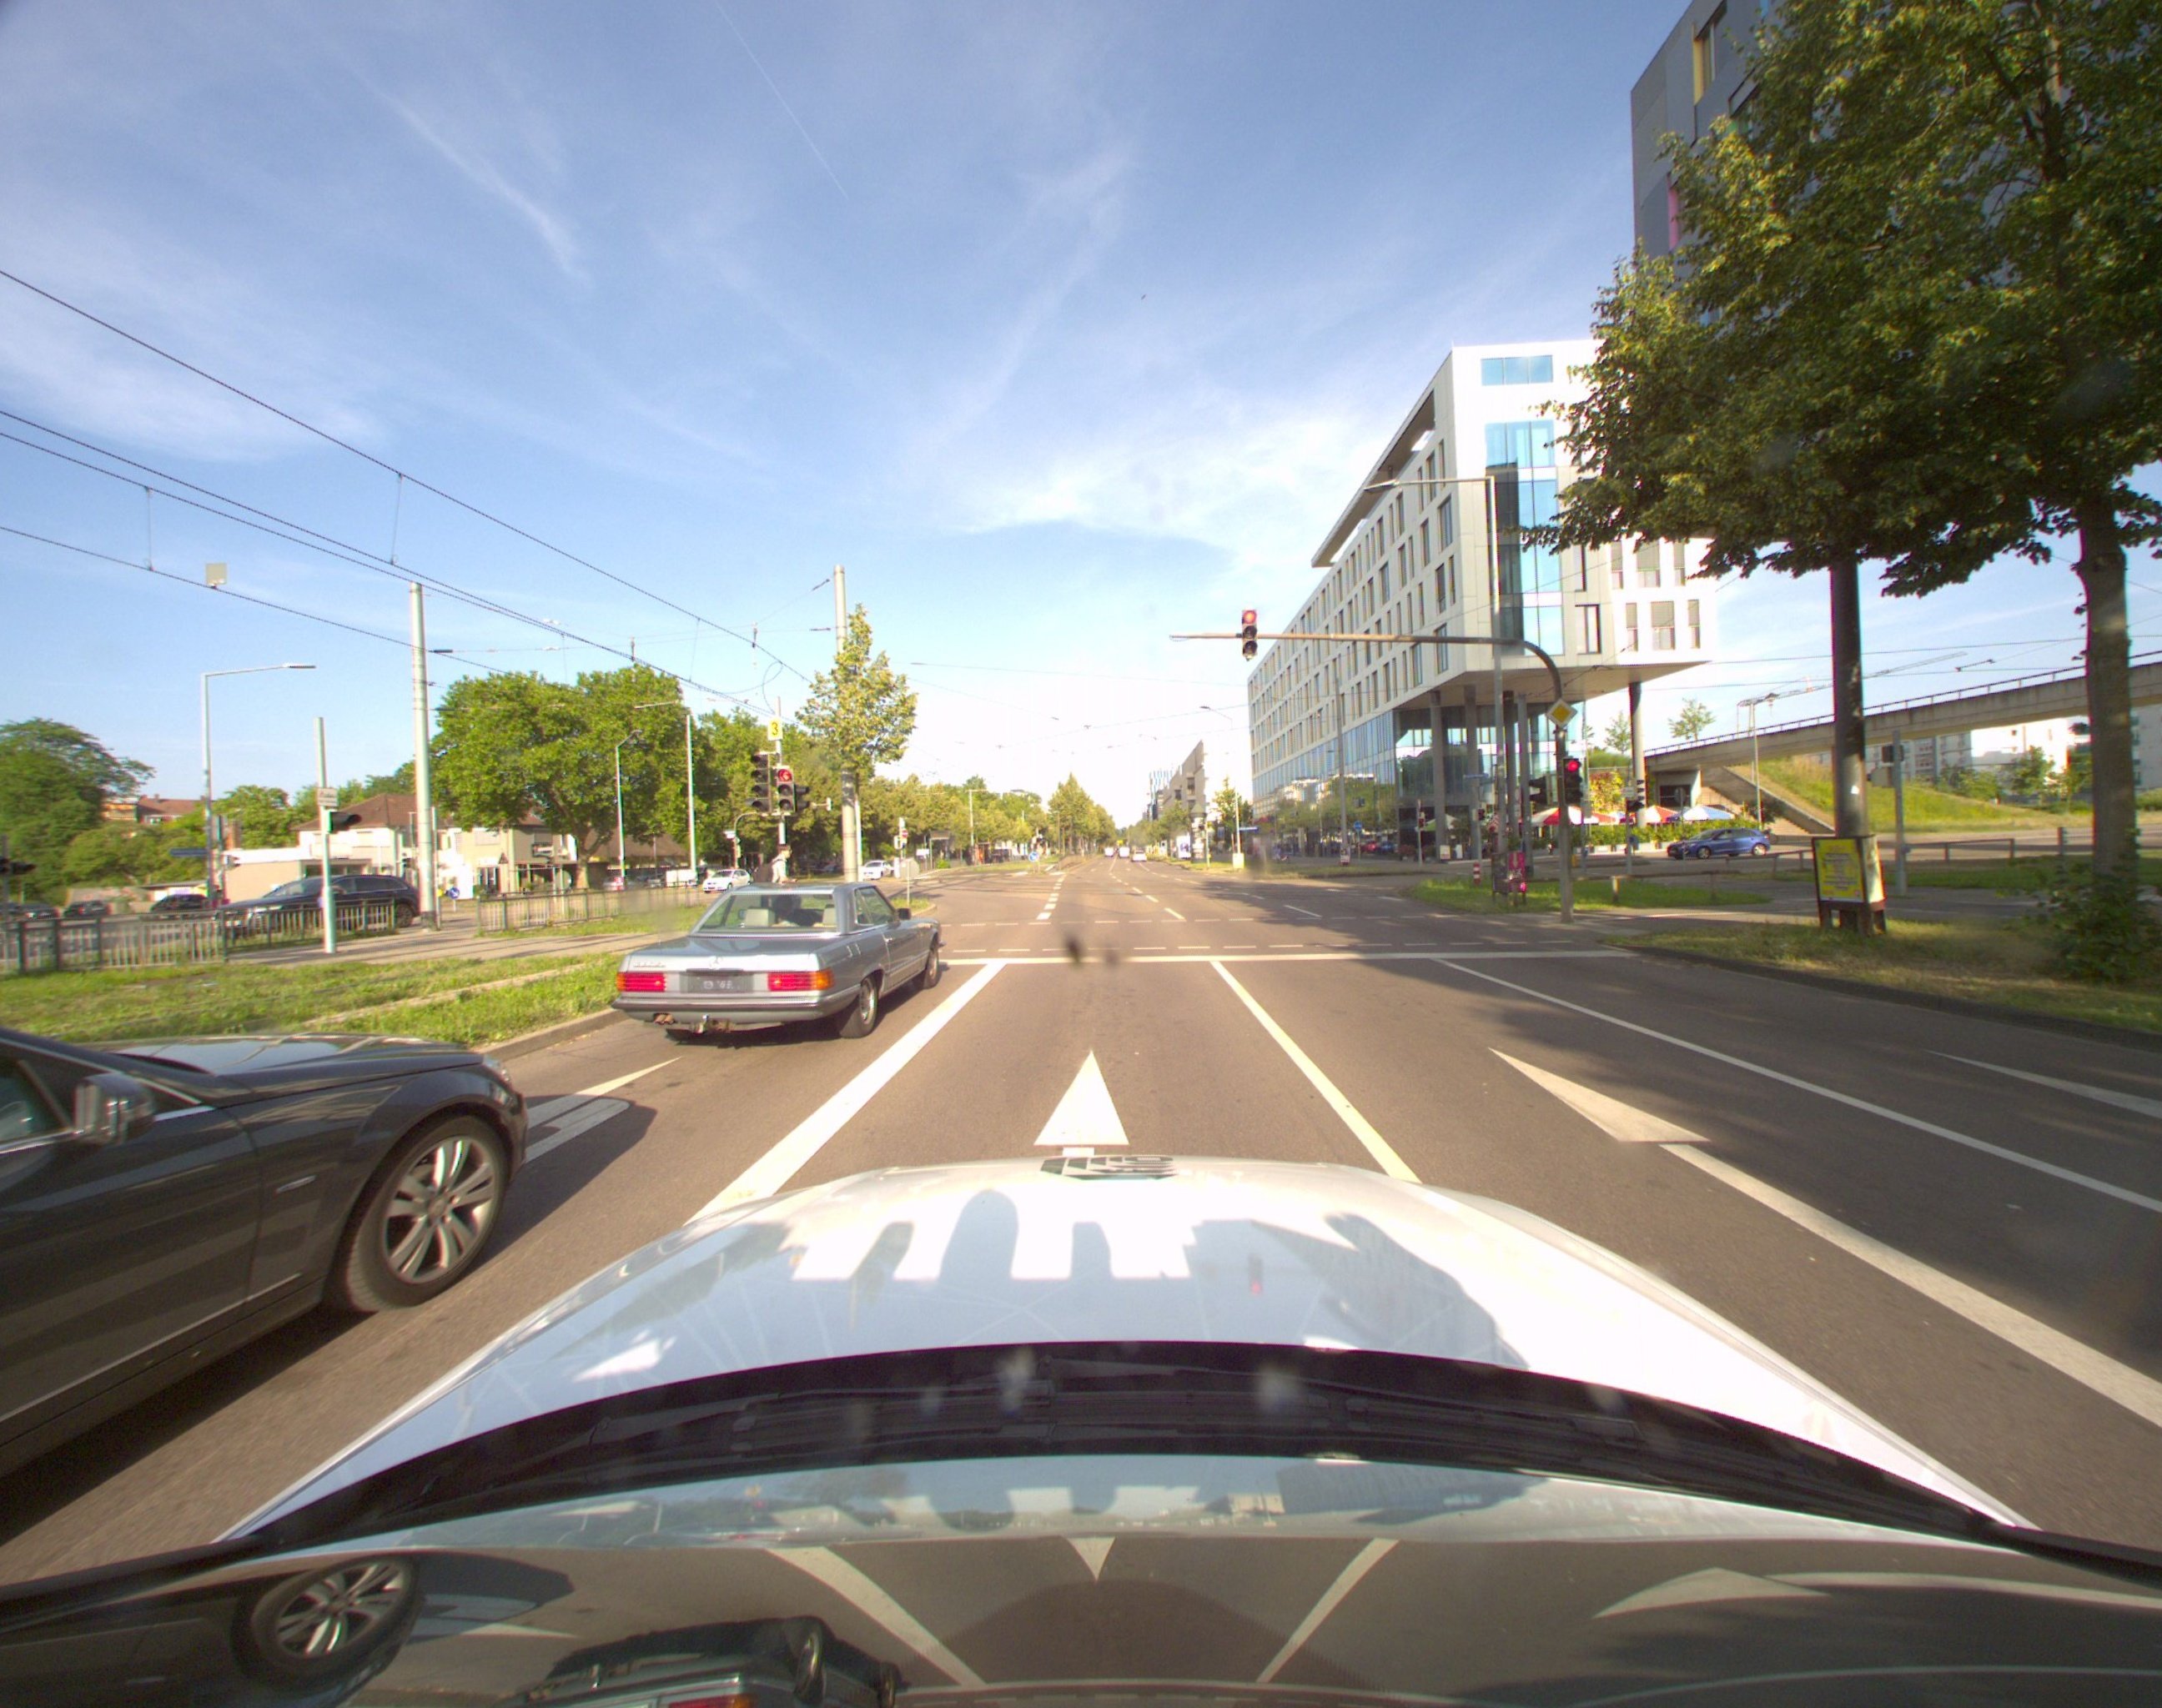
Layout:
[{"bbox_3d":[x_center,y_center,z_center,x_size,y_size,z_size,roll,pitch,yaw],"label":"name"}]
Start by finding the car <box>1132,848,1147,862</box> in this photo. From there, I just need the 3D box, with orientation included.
[{"bbox_3d":[7.453,0.099,104.307,1.856,1.684,4.004,0,1,3],"label":"car"}]

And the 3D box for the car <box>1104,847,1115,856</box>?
[{"bbox_3d":[5.867,-0.530,167.617,2.006,1.684,4.004,0,1,3],"label":"car"}]

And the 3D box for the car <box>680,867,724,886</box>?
[{"bbox_3d":[-35.629,2.067,76.662,1.871,1.559,4.009,-3,0,8],"label":"car"}]

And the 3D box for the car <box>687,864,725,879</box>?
[{"bbox_3d":[-42.162,1.974,91.684,1.871,1.559,4.009,-3,0,8],"label":"car"}]

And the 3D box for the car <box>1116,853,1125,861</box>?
[{"bbox_3d":[8.424,0.619,172.923,1.916,1.684,4.004,0,1,3],"label":"car"}]

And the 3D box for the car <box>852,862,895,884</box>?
[{"bbox_3d":[-16.105,1.439,63.428,1.985,1.504,4.096,-3,0,3],"label":"car"}]

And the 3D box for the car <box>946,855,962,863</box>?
[{"bbox_3d":[-24.902,0.934,159.690,1.871,1.559,4.009,-3,0,8],"label":"car"}]

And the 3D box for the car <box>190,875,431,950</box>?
[{"bbox_3d":[-22.048,1.578,23.684,1.985,1.684,5.001,-2,1,4],"label":"car"}]

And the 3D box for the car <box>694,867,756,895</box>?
[{"bbox_3d":[-22.947,1.728,52.647,1.869,1.528,4.228,-2,1,4],"label":"car"}]

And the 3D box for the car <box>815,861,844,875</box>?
[{"bbox_3d":[-32.245,1.768,104.536,1.871,1.559,4.009,-3,0,8],"label":"car"}]

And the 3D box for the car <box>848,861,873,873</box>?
[{"bbox_3d":[-30.816,1.763,113.947,1.871,1.559,4.009,-3,0,8],"label":"car"}]

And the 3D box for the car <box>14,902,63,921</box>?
[{"bbox_3d":[-90.750,5.025,70.872,3.897,1.471,1.708,-2,0,24],"label":"car"}]

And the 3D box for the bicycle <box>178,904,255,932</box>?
[{"bbox_3d":[-38.059,2.791,35.873,2.203,1.041,0.695,-2,0,-20],"label":"bicycle"}]

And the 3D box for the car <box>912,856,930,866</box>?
[{"bbox_3d":[-27.368,1.241,139.333,1.871,1.559,4.009,-3,0,8],"label":"car"}]

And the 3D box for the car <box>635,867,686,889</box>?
[{"bbox_3d":[-36.410,2.056,70.629,1.871,1.750,4.009,-3,0,8],"label":"car"}]

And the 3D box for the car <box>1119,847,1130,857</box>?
[{"bbox_3d":[7.737,-0.325,143.702,1.856,1.684,4.004,0,1,3],"label":"car"}]

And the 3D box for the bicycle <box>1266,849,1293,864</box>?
[{"bbox_3d":[14.975,0.196,61.558,0.778,1.032,1.856,-2,2,-41],"label":"bicycle"}]

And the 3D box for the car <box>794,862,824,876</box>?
[{"bbox_3d":[-33.019,1.761,98.986,1.871,1.559,4.009,-3,0,8],"label":"car"}]

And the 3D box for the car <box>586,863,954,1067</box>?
[{"bbox_3d":[-2.543,0.812,7.954,1.757,1.330,4.402,0,1,2],"label":"car"}]

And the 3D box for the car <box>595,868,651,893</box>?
[{"bbox_3d":[-36.998,2.121,65.885,1.871,1.750,4.009,-3,0,8],"label":"car"}]

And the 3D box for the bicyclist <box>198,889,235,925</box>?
[{"bbox_3d":[-38.065,2.338,35.882,0.850,1.493,0.695,-2,0,-20],"label":"bicyclist"}]

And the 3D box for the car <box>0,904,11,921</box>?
[{"bbox_3d":[-101.365,5.489,75.540,3.897,1.471,1.708,-2,0,24],"label":"car"}]

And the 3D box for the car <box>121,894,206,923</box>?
[{"bbox_3d":[-62.451,3.682,55.463,3.963,1.728,2.005,-2,0,9],"label":"car"}]

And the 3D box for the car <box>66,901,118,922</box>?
[{"bbox_3d":[-80.301,4.680,66.132,3.897,1.471,1.708,-2,0,24],"label":"car"}]

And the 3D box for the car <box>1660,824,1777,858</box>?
[{"bbox_3d":[31.055,-0.640,39.756,4.168,1.424,1.860,-3,1,1],"label":"car"}]

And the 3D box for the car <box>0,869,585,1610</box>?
[{"bbox_3d":[-3.161,0.841,1.352,1.779,1.478,4.358,0,1,4],"label":"car"}]
